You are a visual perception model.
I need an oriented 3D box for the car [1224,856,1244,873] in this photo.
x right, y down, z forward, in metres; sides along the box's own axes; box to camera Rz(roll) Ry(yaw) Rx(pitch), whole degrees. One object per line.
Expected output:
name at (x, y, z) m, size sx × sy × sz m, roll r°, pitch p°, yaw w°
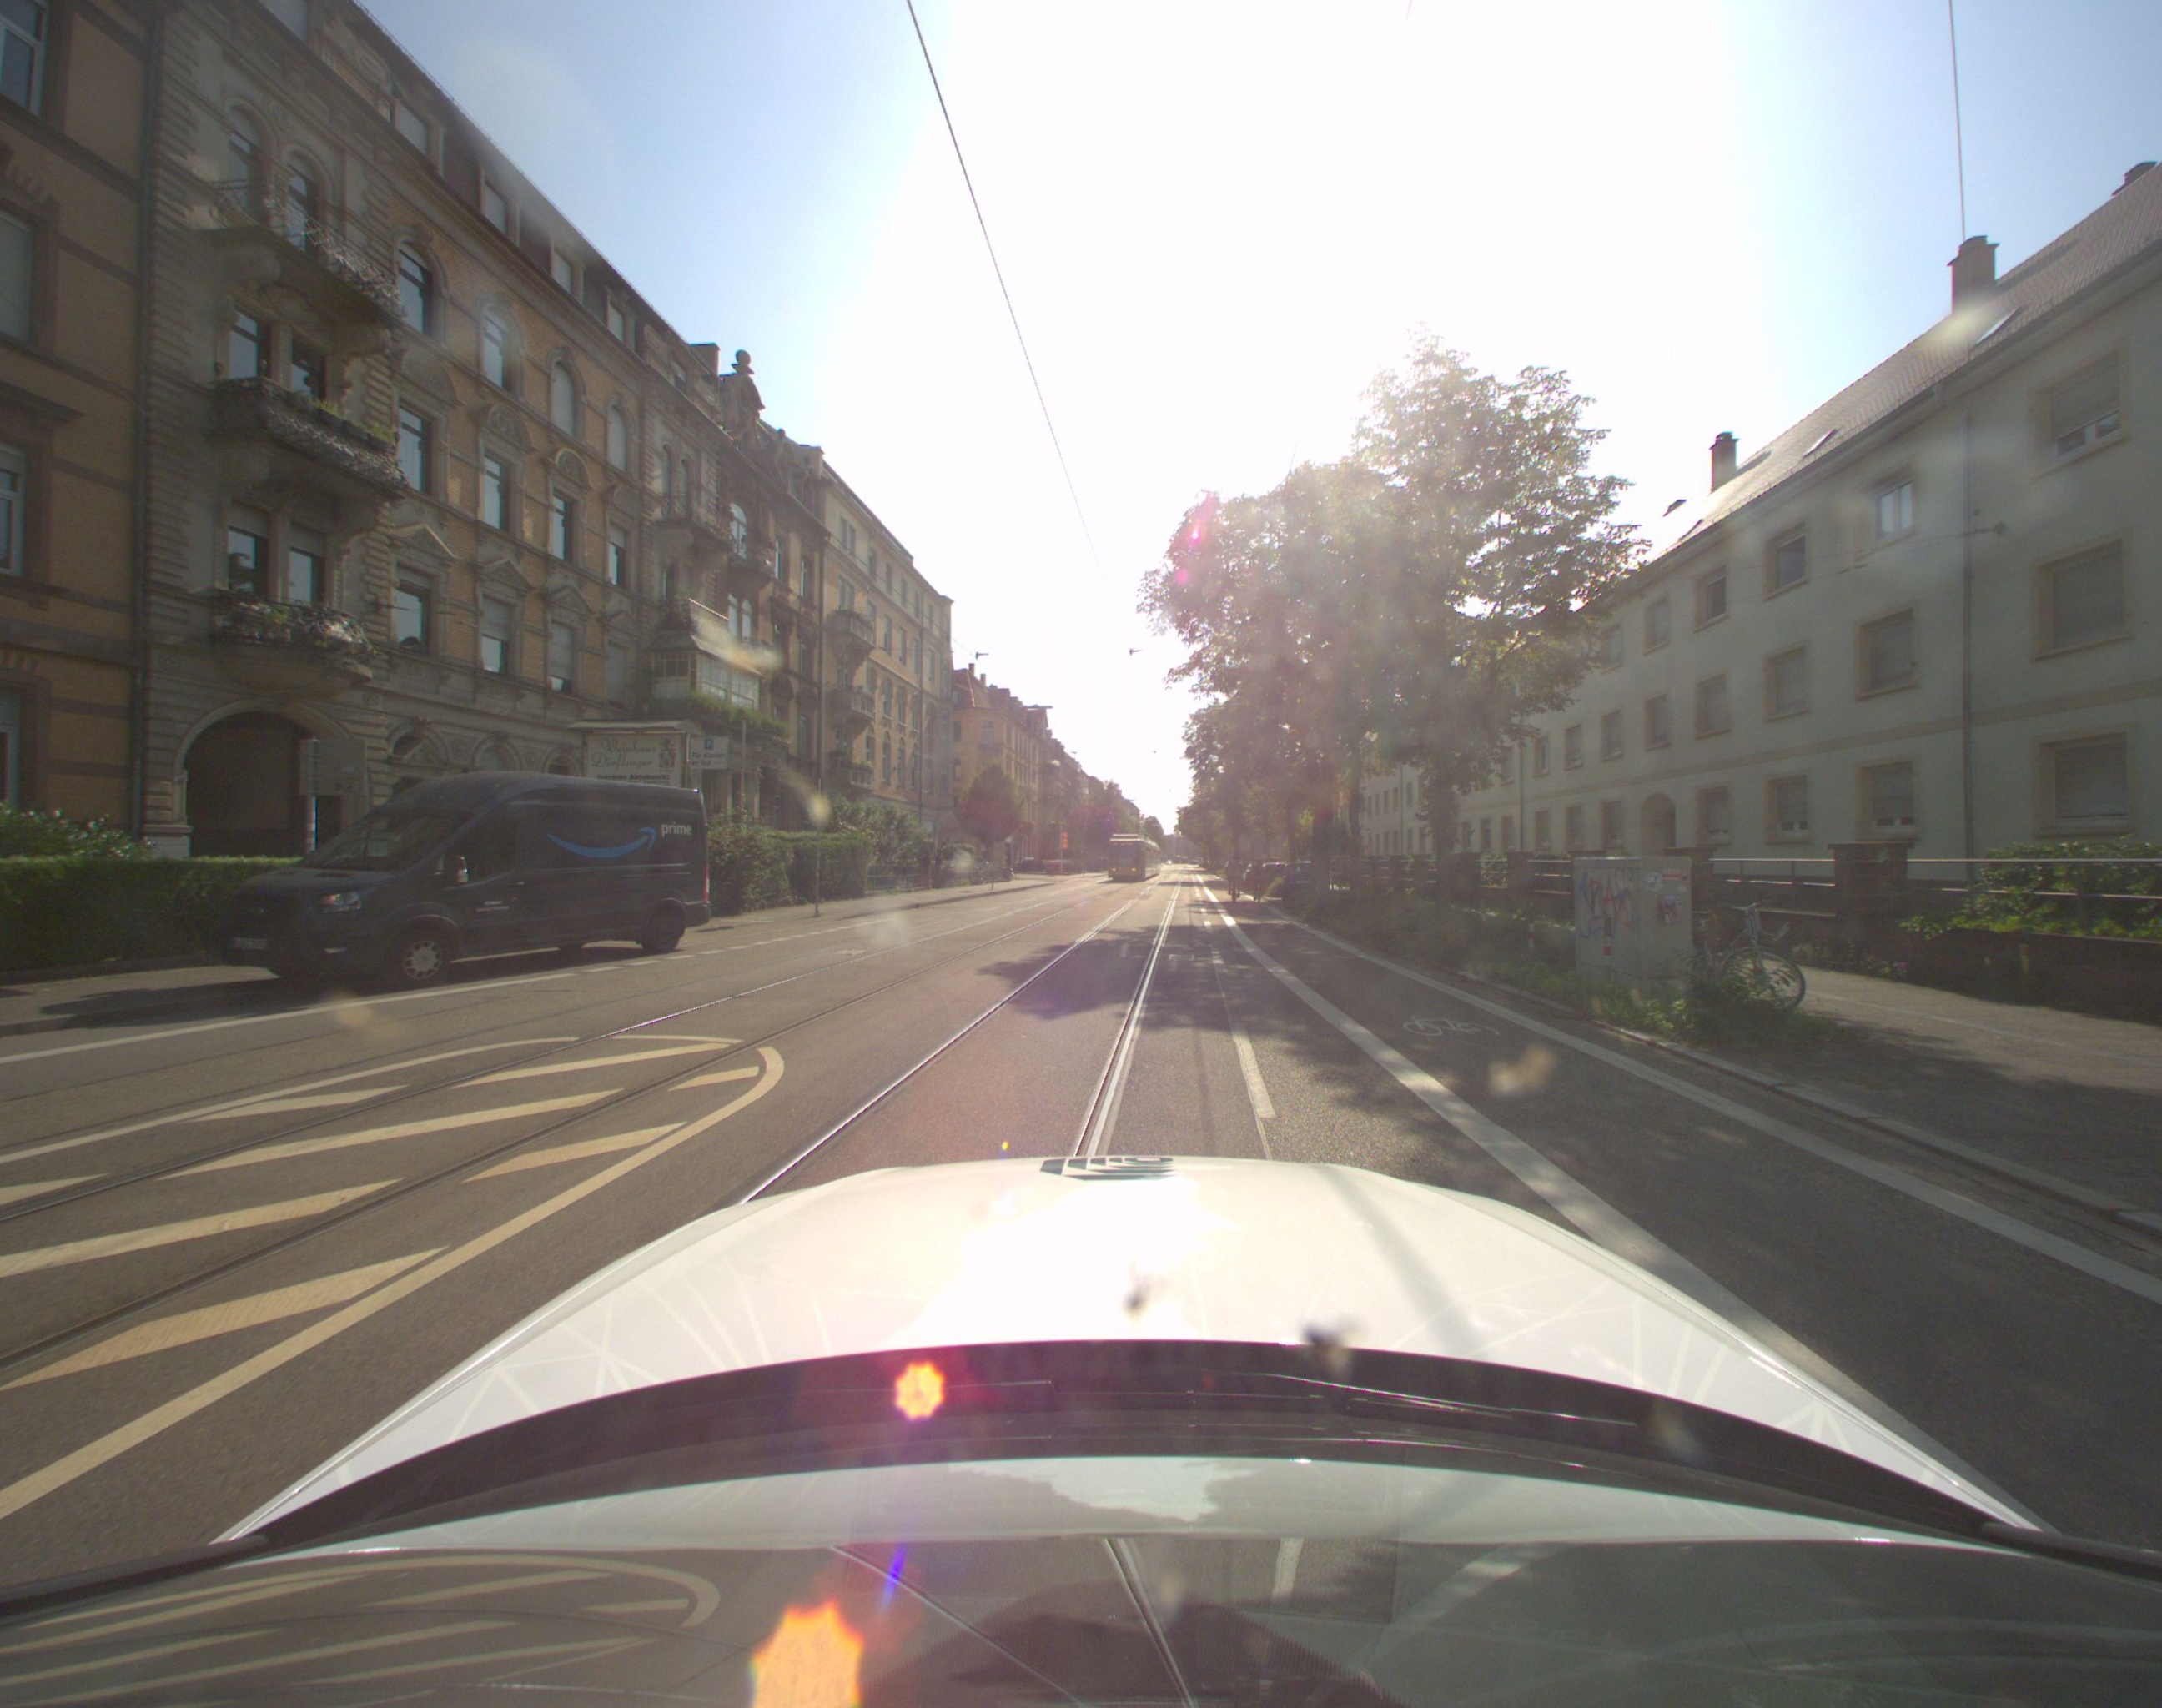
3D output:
car at (14.999, 1.026, 79.932) m, size 1.734 × 1.561 × 4.729 m, roll -1°, pitch -1°, yaw 8°

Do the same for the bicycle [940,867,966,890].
bicycle at (-6.150, 1.172, 39.252) m, size 0.603 × 1.058 × 1.844 m, roll 4°, pitch 0°, yaw 9°

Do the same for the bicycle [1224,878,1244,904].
bicycle at (5.693, 1.363, 30.316) m, size 0.623 × 0.909 × 1.528 m, roll 2°, pitch 0°, yaw 7°

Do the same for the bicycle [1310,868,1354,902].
bicycle at (8.046, 0.976, 26.055) m, size 1.737 × 1.073 × 0.519 m, roll 1°, pitch -1°, yaw -41°

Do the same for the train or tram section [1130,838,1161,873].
train or tram section at (6.955, 0.198, 86.610) m, size 2.720 × 3.505 × 10.796 m, roll 1°, pitch 0°, yaw 7°

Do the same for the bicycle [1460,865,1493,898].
bicycle at (13.559, 0.938, 27.982) m, size 0.520 × 1.073 × 1.732 m, roll 1°, pitch 0°, yaw 8°

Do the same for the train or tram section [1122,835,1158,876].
train or tram section at (5.594, 0.172, 75.845) m, size 2.720 × 3.505 × 10.796 m, roll 1°, pitch 0°, yaw 7°

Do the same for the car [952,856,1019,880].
car at (-6.526, 0.988, 55.869) m, size 4.115 × 1.543 × 2.068 m, roll 1°, pitch -1°, yaw 6°

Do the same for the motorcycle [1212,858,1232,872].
motorcycle at (17.714, 1.341, 102.348) m, size 0.918 × 1.674 × 2.392 m, roll -1°, pitch -1°, yaw -38°

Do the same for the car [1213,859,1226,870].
car at (20.048, 1.539, 118.041) m, size 1.717 × 1.504 × 3.992 m, roll -2°, pitch -1°, yaw 7°

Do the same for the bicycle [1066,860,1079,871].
bicycle at (-0.900, 1.193, 86.097) m, size 1.351 × 1.060 × 0.417 m, roll 2°, pitch -1°, yaw 4°

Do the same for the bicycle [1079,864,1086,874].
bicycle at (0.159, 1.582, 87.003) m, size 0.505 × 1.108 × 2.007 m, roll 0°, pitch -1°, yaw 8°

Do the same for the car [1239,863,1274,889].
car at (10.970, 1.329, 51.032) m, size 1.680 × 1.435 × 4.345 m, roll -3°, pitch -1°, yaw 7°

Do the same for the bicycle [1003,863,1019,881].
bicycle at (-4.477, 1.147, 52.131) m, size 0.541 × 1.058 × 1.844 m, roll 4°, pitch 0°, yaw 9°

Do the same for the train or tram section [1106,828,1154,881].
train or tram section at (3.991, 0.064, 62.834) m, size 2.720 × 3.505 × 15.462 m, roll 1°, pitch 0°, yaw 7°

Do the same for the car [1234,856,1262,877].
car at (12.534, 0.939, 61.344) m, size 1.680 × 1.502 × 4.104 m, roll -2°, pitch -1°, yaw 7°

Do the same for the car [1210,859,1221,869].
car at (22.301, 1.679, 134.953) m, size 1.762 × 1.473 × 3.982 m, roll -1°, pitch -1°, yaw 8°

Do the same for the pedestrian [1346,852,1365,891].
pedestrian at (12.556, 0.802, 37.323) m, size 0.747 × 1.749 × 0.881 m, roll 0°, pitch 0°, yaw 14°

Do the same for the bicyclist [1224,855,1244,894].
bicyclist at (5.708, 0.768, 30.332) m, size 0.623 × 1.401 × 0.931 m, roll 2°, pitch -1°, yaw 7°

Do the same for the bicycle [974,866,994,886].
bicycle at (-5.391, 1.220, 45.149) m, size 0.541 × 1.058 × 1.844 m, roll 4°, pitch 0°, yaw 9°

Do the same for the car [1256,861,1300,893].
car at (9.668, 1.077, 40.157) m, size 1.636 × 1.448 × 4.255 m, roll -2°, pitch -1°, yaw 8°

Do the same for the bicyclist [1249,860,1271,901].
bicyclist at (6.679, 0.989, 30.439) m, size 0.651 × 1.474 × 0.910 m, roll 2°, pitch -1°, yaw 6°

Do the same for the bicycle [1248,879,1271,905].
bicycle at (6.658, 1.402, 30.451) m, size 0.651 × 0.909 × 1.778 m, roll 2°, pitch 0°, yaw 7°

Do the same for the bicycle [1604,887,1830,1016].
bicycle at (6.642, 0.947, 8.719) m, size 0.768 × 1.104 × 2.337 m, roll 0°, pitch 0°, yaw 5°

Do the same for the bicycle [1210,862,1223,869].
bicycle at (21.824, 1.877, 131.317) m, size 2.100 × 1.105 × 0.563 m, roll 0°, pitch -1°, yaw 0°

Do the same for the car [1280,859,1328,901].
car at (8.816, 0.993, 32.414) m, size 1.634 × 1.540 × 3.855 m, roll -2°, pitch -1°, yaw 13°

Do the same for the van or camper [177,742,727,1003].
van or camper at (-7.911, 0.233, 11.447) m, size 2.035 × 2.644 × 6.112 m, roll -1°, pitch -1°, yaw 14°
